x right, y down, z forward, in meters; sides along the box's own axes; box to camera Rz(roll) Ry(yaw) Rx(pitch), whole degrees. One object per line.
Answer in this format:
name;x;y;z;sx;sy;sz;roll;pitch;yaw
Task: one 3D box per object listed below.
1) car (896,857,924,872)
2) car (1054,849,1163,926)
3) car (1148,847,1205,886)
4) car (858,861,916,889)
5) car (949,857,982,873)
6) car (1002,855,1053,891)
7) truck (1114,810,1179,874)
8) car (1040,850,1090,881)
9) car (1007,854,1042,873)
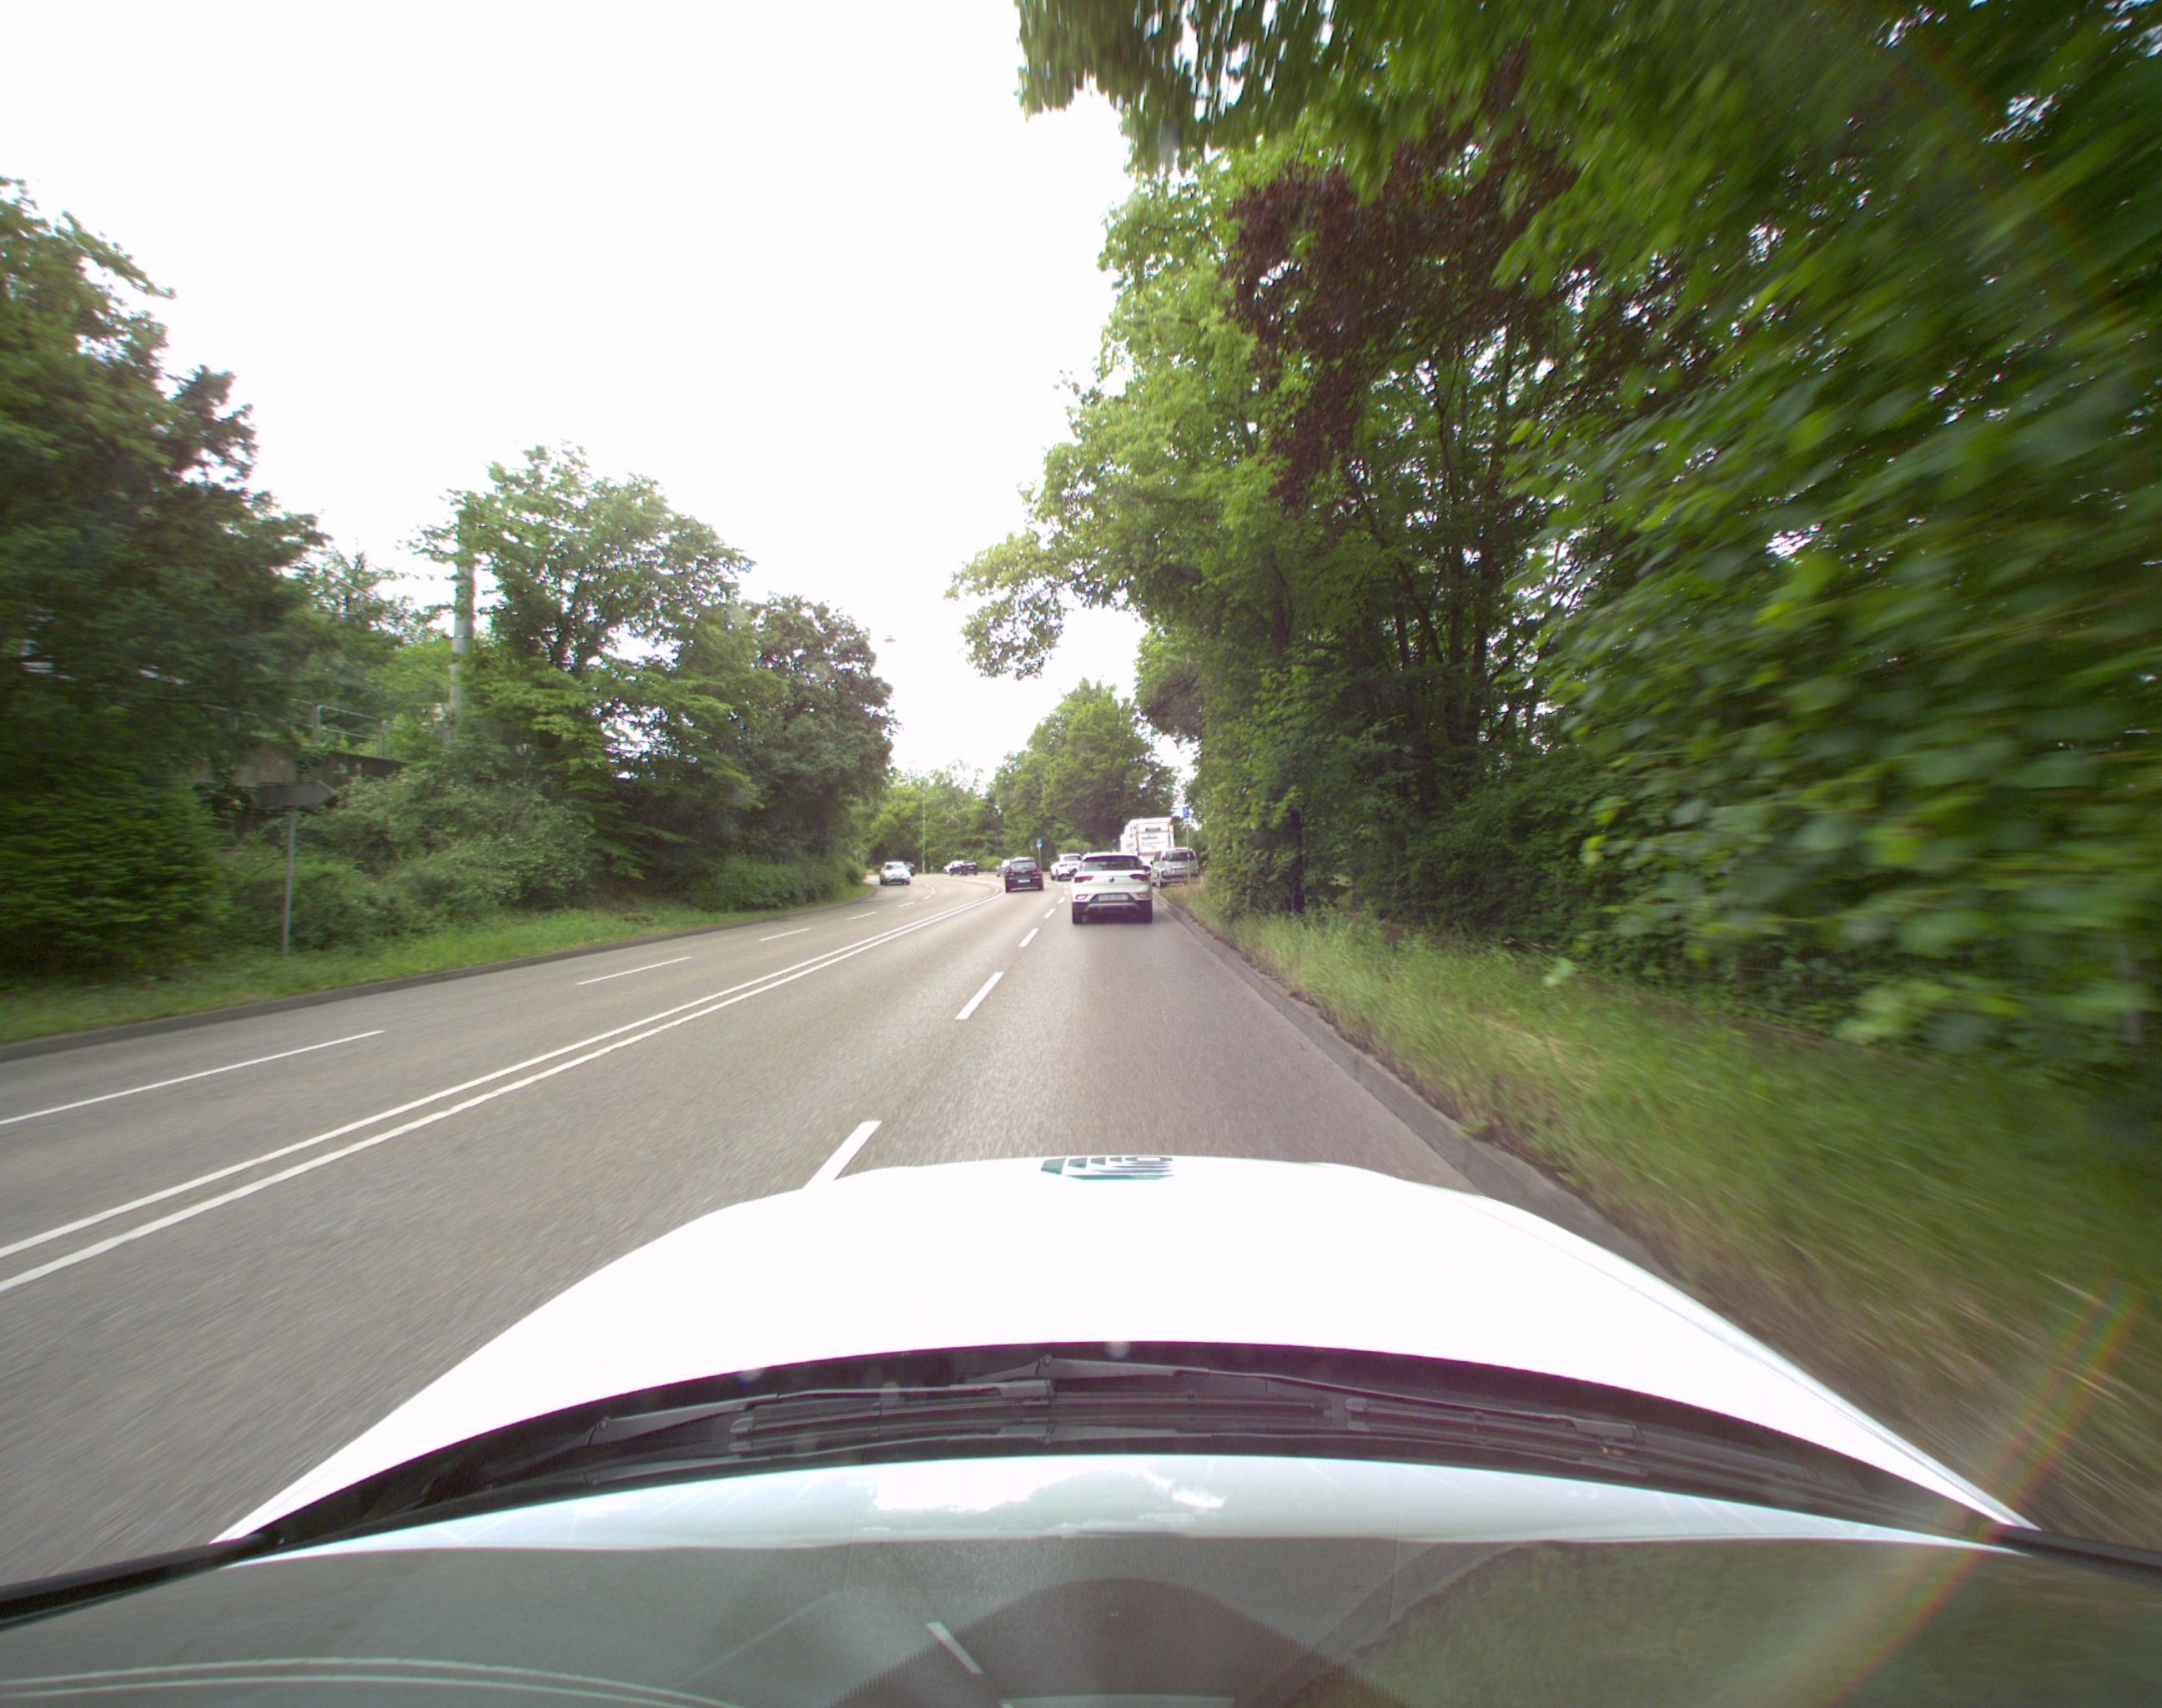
car;-17.972;1.087;85.571;1.986;1.592;4.001;0;-1;1
car;0.517;0.710;19.004;1.998;1.596;3.991;1;-1;-7
car;3.934;0.515;34.120;1.798;1.524;3.998;1;-1;-1
car;-14.153;1.490;59.298;4.380;1.694;1.874;1;5;44
car;-11.483;1.066;80.784;1.777;1.607;3.960;1;-1;-31
car;-2.418;0.855;37.738;1.942;1.466;4.001;-3;-1;2
truck;3.441;-0.572;44.317;2.477;3.182;7.218;1;-1;-4
car;-1.067;0.692;50.818;1.858;1.702;3.973;-3;1;-20
car;-5.361;0.880;77.013;1.767;1.652;4.343;-3;0;-26
